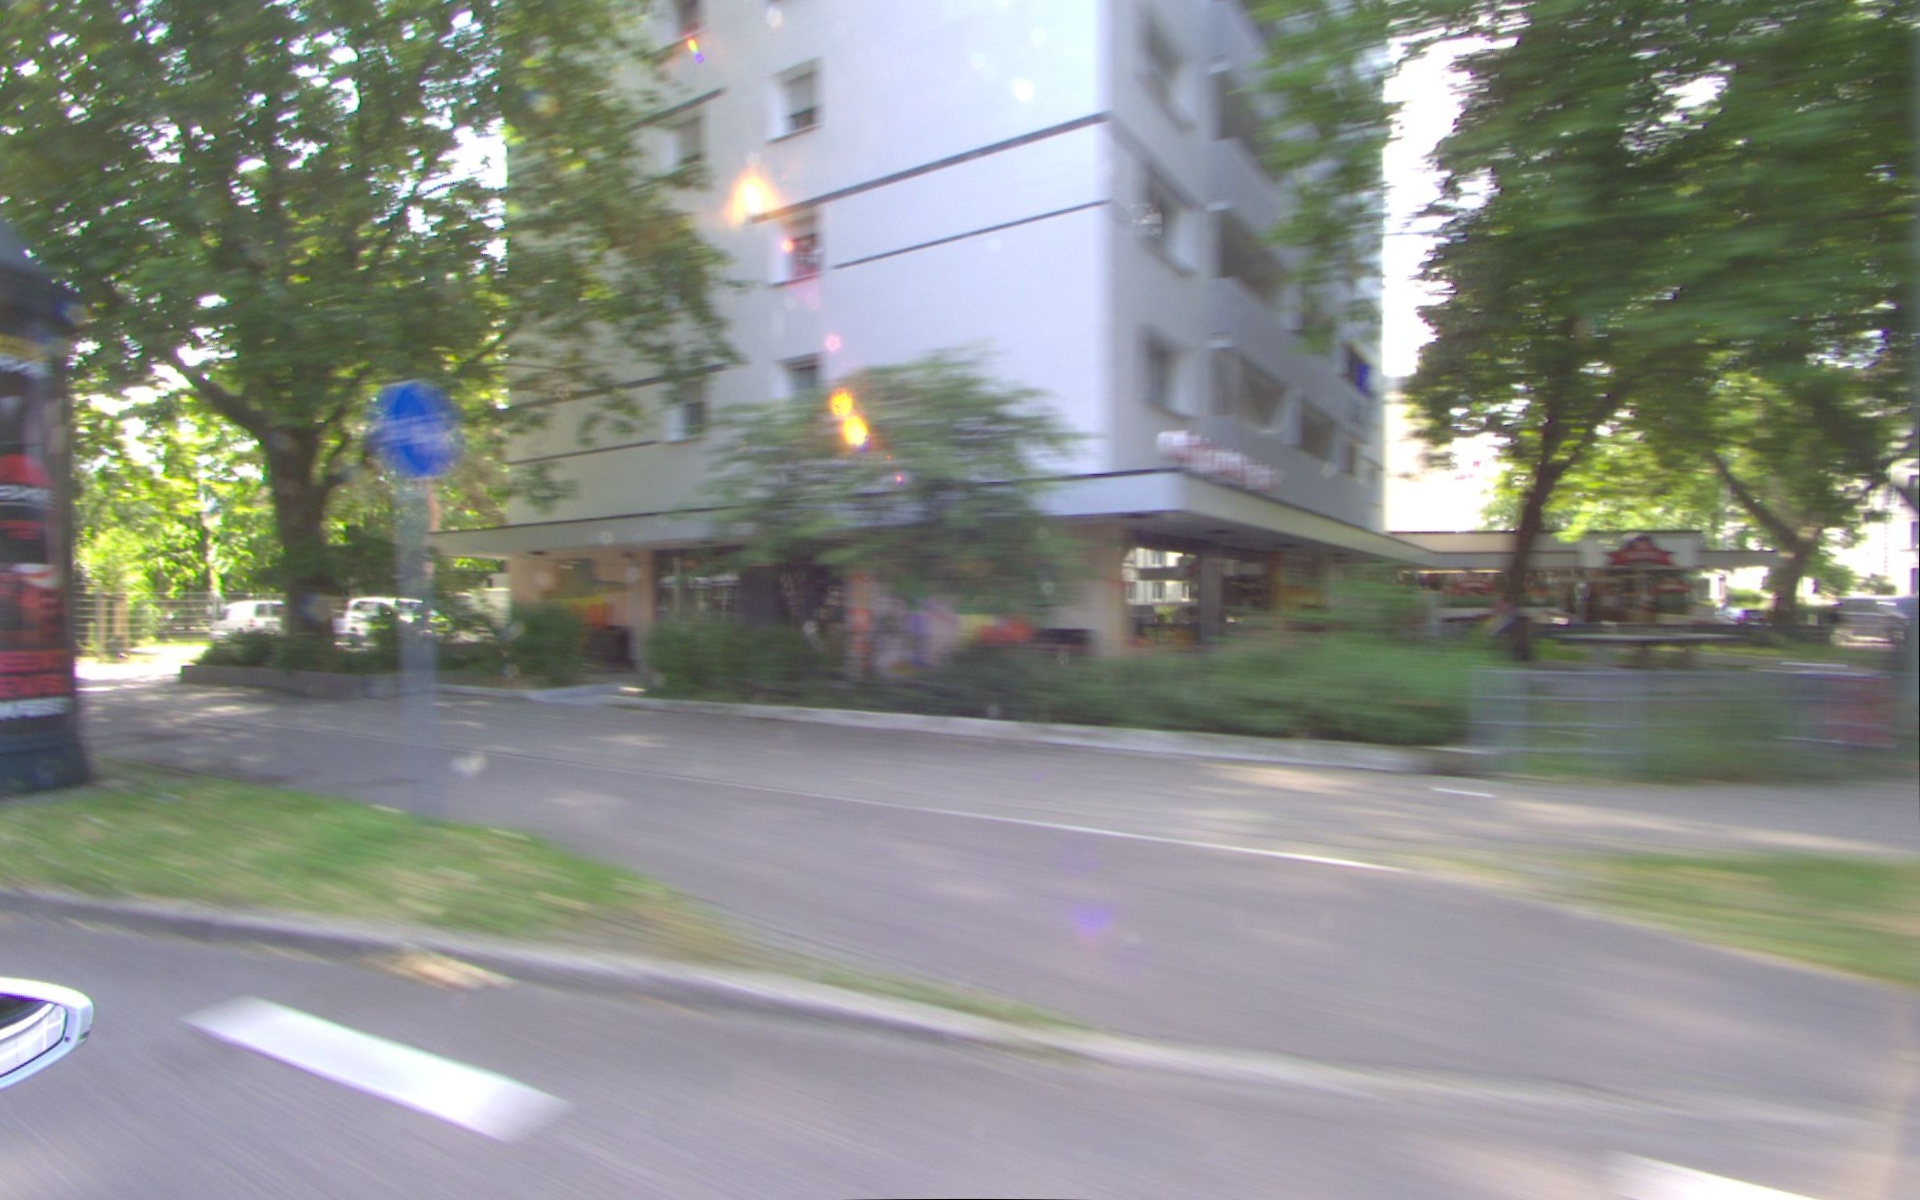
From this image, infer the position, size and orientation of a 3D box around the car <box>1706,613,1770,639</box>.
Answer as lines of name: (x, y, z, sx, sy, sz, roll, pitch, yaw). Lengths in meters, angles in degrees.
car: (49.411, 1.613, 63.690, 1.697, 1.575, 3.632, 0, 0, 10)

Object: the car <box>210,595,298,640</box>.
car: (-30.706, 0.746, 43.541, 4.280, 1.839, 1.802, 0, 0, 35)

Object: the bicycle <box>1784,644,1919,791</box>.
bicycle: (7.289, 0.892, 8.005, 1.704, 1.022, 0.531, 0, 0, -30)

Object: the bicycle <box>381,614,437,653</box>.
bicycle: (-15.577, 0.942, 28.320, 1.699, 1.079, 0.515, 0, 1, 27)

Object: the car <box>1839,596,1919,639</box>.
car: (38.464, 0.680, 41.186, 1.832, 1.683, 3.746, 0, 0, 11)

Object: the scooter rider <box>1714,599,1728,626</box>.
scooter rider: (52.877, 0.855, 69.605, 0.518, 1.836, 0.649, 0, 1, 9)

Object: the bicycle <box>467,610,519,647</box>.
bicycle: (-14.210, 0.853, 30.462, 1.699, 1.079, 0.515, 0, 1, 27)

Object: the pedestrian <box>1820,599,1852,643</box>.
pedestrian: (30.238, 0.709, 34.570, 0.660, 1.498, 0.574, 1, 1, 23)

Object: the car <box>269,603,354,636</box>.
car: (-29.725, 0.877, 45.894, 3.990, 1.421, 1.803, 0, 0, 33)

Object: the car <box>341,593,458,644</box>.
car: (-20.990, 0.676, 37.437, 4.702, 1.779, 1.734, 0, 0, 31)
